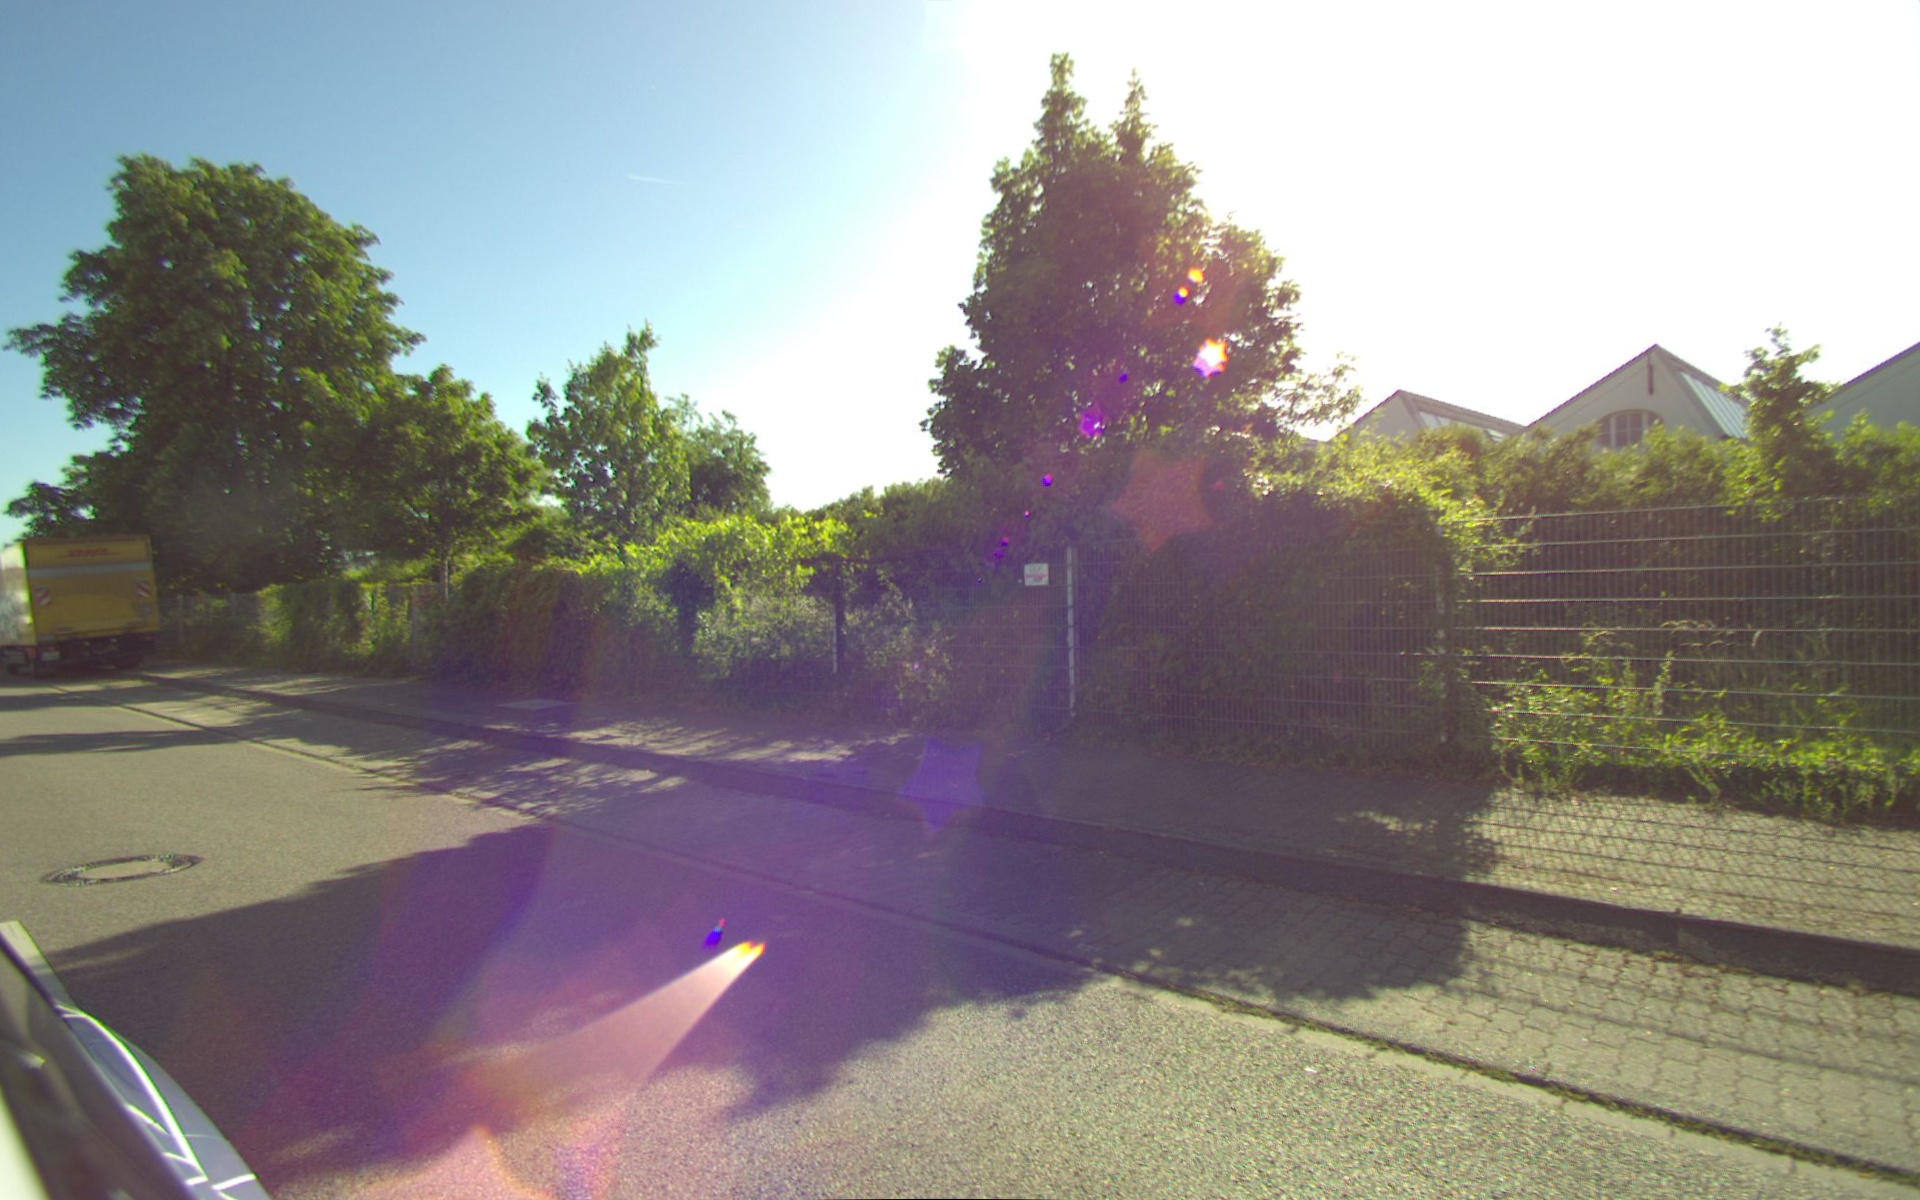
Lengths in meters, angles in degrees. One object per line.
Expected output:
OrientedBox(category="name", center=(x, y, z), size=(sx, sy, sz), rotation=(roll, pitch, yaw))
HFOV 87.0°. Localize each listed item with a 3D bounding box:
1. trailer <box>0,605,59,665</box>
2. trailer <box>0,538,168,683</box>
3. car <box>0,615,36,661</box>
OrientedBox(category="trailer", center=(-32.498, 1.157, 34.625), size=(4.413, 1.956, 1.973), rotation=(-1, -1, 41))
OrientedBox(category="trailer", center=(-24.891, 0.288, 28.061), size=(8.154, 3.469, 2.961), rotation=(-1, 0, 40))
OrientedBox(category="car", center=(-36.908, 1.470, 38.575), size=(5.023, 1.604, 1.889), rotation=(-1, 4, 42))
